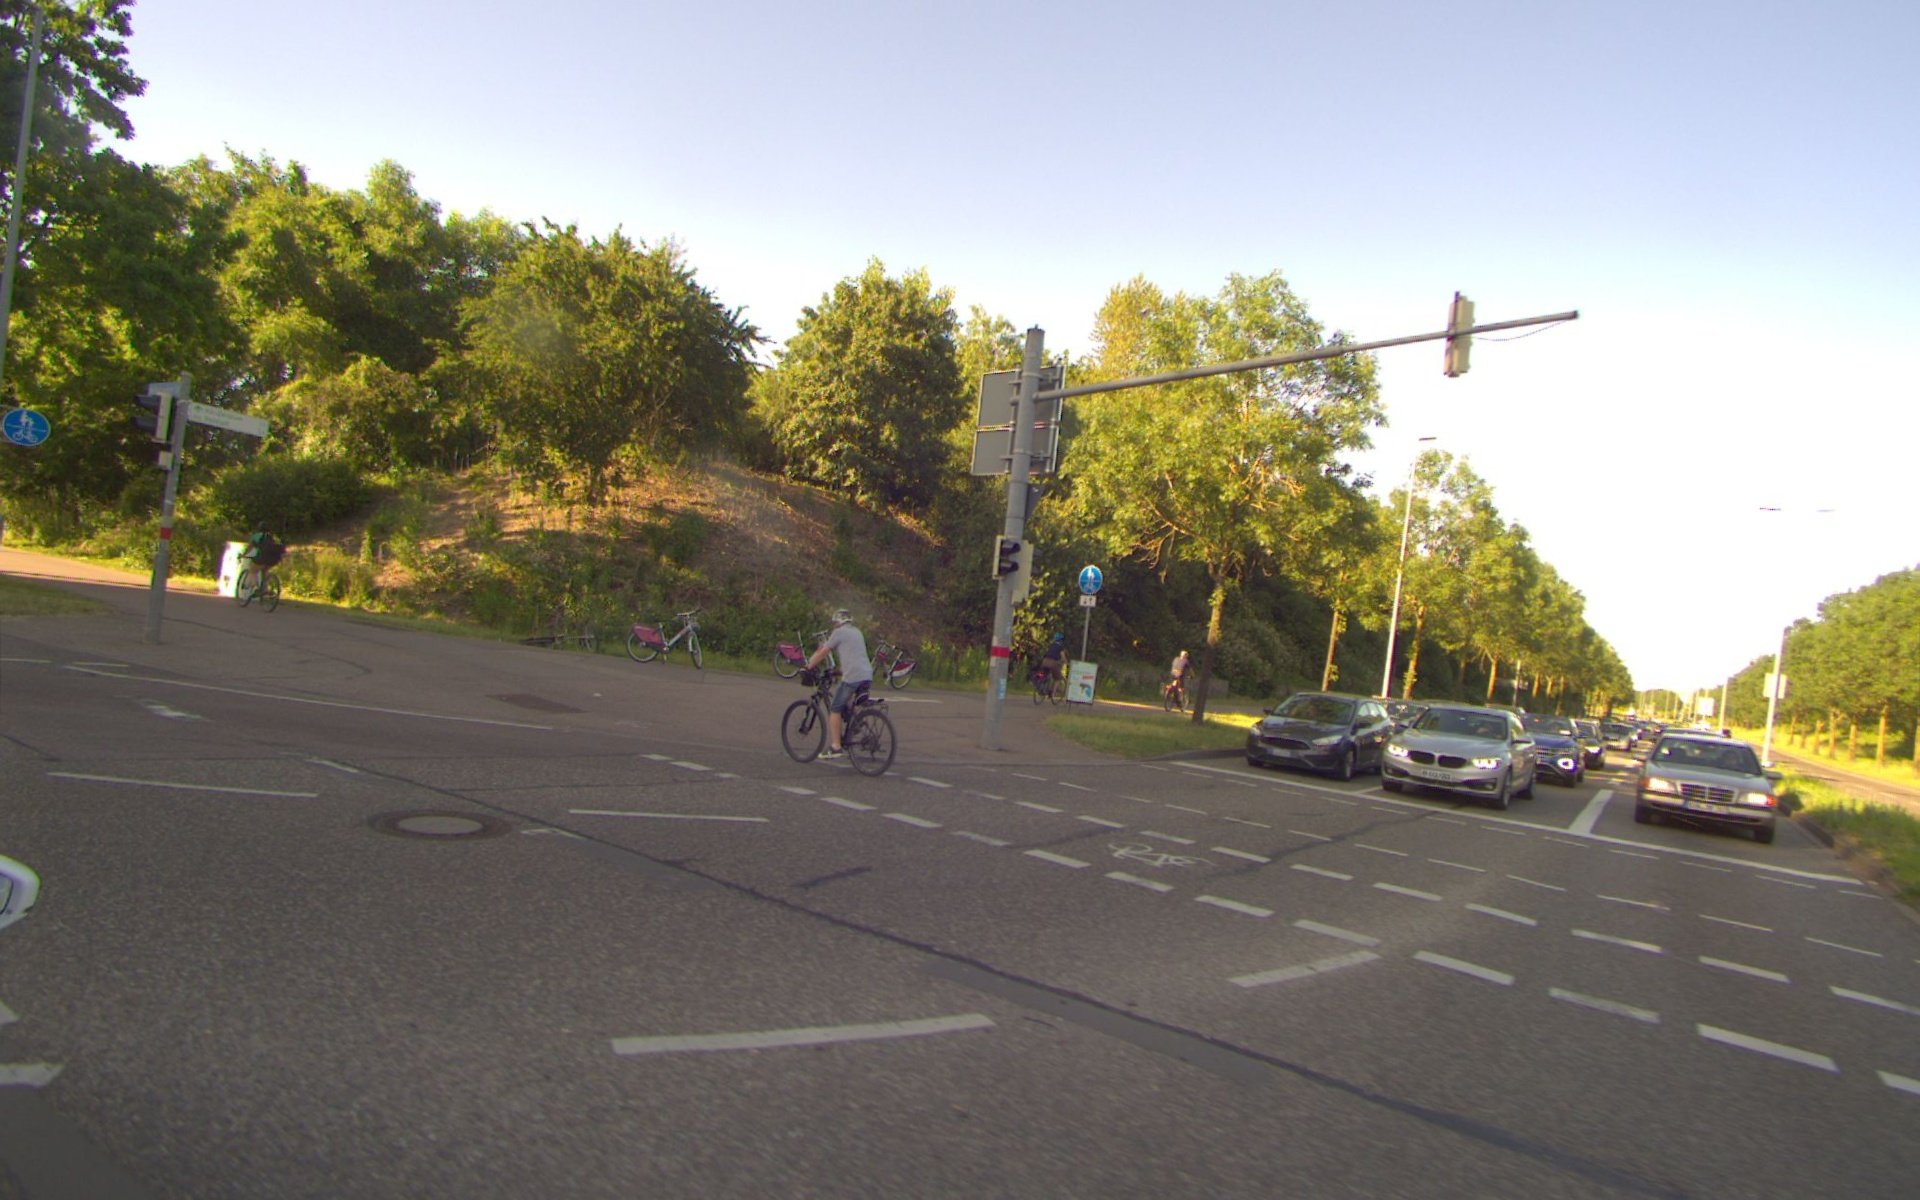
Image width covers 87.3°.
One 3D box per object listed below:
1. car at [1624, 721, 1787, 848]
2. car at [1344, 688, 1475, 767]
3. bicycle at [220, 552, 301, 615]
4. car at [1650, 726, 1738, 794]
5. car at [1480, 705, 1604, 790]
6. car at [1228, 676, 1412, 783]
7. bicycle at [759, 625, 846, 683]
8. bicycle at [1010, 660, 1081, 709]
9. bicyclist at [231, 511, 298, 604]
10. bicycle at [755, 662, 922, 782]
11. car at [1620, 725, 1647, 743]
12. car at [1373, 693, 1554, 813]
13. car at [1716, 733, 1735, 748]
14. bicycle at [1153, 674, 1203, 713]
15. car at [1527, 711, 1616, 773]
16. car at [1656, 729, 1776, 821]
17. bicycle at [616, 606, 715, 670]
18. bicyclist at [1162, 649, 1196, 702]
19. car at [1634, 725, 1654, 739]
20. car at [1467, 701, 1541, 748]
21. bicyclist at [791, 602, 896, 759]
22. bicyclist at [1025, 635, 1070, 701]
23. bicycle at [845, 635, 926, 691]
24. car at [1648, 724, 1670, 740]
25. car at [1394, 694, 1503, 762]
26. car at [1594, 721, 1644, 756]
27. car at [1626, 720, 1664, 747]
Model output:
[{"bbox_3d":[12.127,2.904,16.389,1.801,1.530,4.550,4,-4,38],"label":"car"},{"bbox_3d":[10.932,3.091,24.273,1.801,1.530,4.550,4,-4,38],"label":"car"},{"bbox_3d":[-13.170,-0.314,18.921,1.723,1.035,0.592,4,-3,35],"label":"bicycle"},{"bbox_3d":[20.866,4.504,28.577,1.801,1.530,4.550,4,-4,38],"label":"car"},{"bbox_3d":[13.396,3.350,23.009,1.801,1.530,4.550,4,-4,38],"label":"car"},{"bbox_3d":[6.756,2.392,18.564,1.801,1.530,4.550,4,-4,38],"label":"car"},{"bbox_3d":[-3.247,1.136,20.842,0.585,1.034,1.745,5,-4,39],"label":"bicycle"},{"bbox_3d":[2.093,2.063,24.355,0.663,1.034,2.050,5,-4,37],"label":"bicycle"},{"bbox_3d":[-13.054,-0.801,18.874,0.928,1.632,0.592,5,-2,35],"label":"bicyclist"},{"bbox_3d":[-1.321,1.278,10.782,1.723,1.035,0.592,4,-3,35],"label":"bicycle"},{"bbox_3d":[66.364,13.192,99.121,1.801,1.530,4.550,4,-4,38],"label":"car"},{"bbox_3d":[8.543,2.522,16.844,1.801,1.530,4.550,4,-4,38],"label":"car"},{"bbox_3d":[97.667,17.941,128.407,1.801,1.530,4.550,4,-4,38],"label":"car"},{"bbox_3d":[6.524,2.799,30.040,0.660,1.034,1.745,5,-4,39],"label":"bicycle"},{"bbox_3d":[19.001,4.395,31.188,1.801,1.530,4.550,4,-4,38],"label":"car"},{"bbox_3d":[16.342,3.711,21.780,1.801,1.530,4.550,4,-4,38],"label":"car"},{"bbox_3d":[-5.692,0.753,19.525,0.585,1.034,1.745,5,-4,39],"label":"bicycle"},{"bbox_3d":[6.535,2.256,29.999,0.642,1.498,0.616,7,-1,38],"label":"bicyclist"},{"bbox_3d":[91.223,17.658,134.160,1.801,1.530,4.550,4,-4,38],"label":"car"},{"bbox_3d":[21.521,4.945,39.732,1.801,1.530,4.550,4,-4,38],"label":"car"},{"bbox_3d":[-1.246,0.858,10.778,0.757,1.566,0.592,5,-2,35],"label":"bicyclist"},{"bbox_3d":[2.119,1.656,24.410,0.657,1.491,0.749,5,-3,37],"label":"bicyclist"},{"bbox_3d":[-1.600,1.378,21.764,0.586,1.034,1.743,4,-4,42],"label":"bicycle"},{"bbox_3d":[82.171,15.548,118.215,1.801,1.530,4.550,4,-4,38],"label":"car"},{"bbox_3d":[13.754,3.606,28.186,1.801,1.530,4.550,4,-4,38],"label":"car"},{"bbox_3d":[34.438,7.225,52.512,1.801,1.530,4.550,4,-4,38],"label":"car"},{"bbox_3d":[46.288,9.022,67.904,1.801,1.530,4.550,4,-4,38],"label":"car"}]
